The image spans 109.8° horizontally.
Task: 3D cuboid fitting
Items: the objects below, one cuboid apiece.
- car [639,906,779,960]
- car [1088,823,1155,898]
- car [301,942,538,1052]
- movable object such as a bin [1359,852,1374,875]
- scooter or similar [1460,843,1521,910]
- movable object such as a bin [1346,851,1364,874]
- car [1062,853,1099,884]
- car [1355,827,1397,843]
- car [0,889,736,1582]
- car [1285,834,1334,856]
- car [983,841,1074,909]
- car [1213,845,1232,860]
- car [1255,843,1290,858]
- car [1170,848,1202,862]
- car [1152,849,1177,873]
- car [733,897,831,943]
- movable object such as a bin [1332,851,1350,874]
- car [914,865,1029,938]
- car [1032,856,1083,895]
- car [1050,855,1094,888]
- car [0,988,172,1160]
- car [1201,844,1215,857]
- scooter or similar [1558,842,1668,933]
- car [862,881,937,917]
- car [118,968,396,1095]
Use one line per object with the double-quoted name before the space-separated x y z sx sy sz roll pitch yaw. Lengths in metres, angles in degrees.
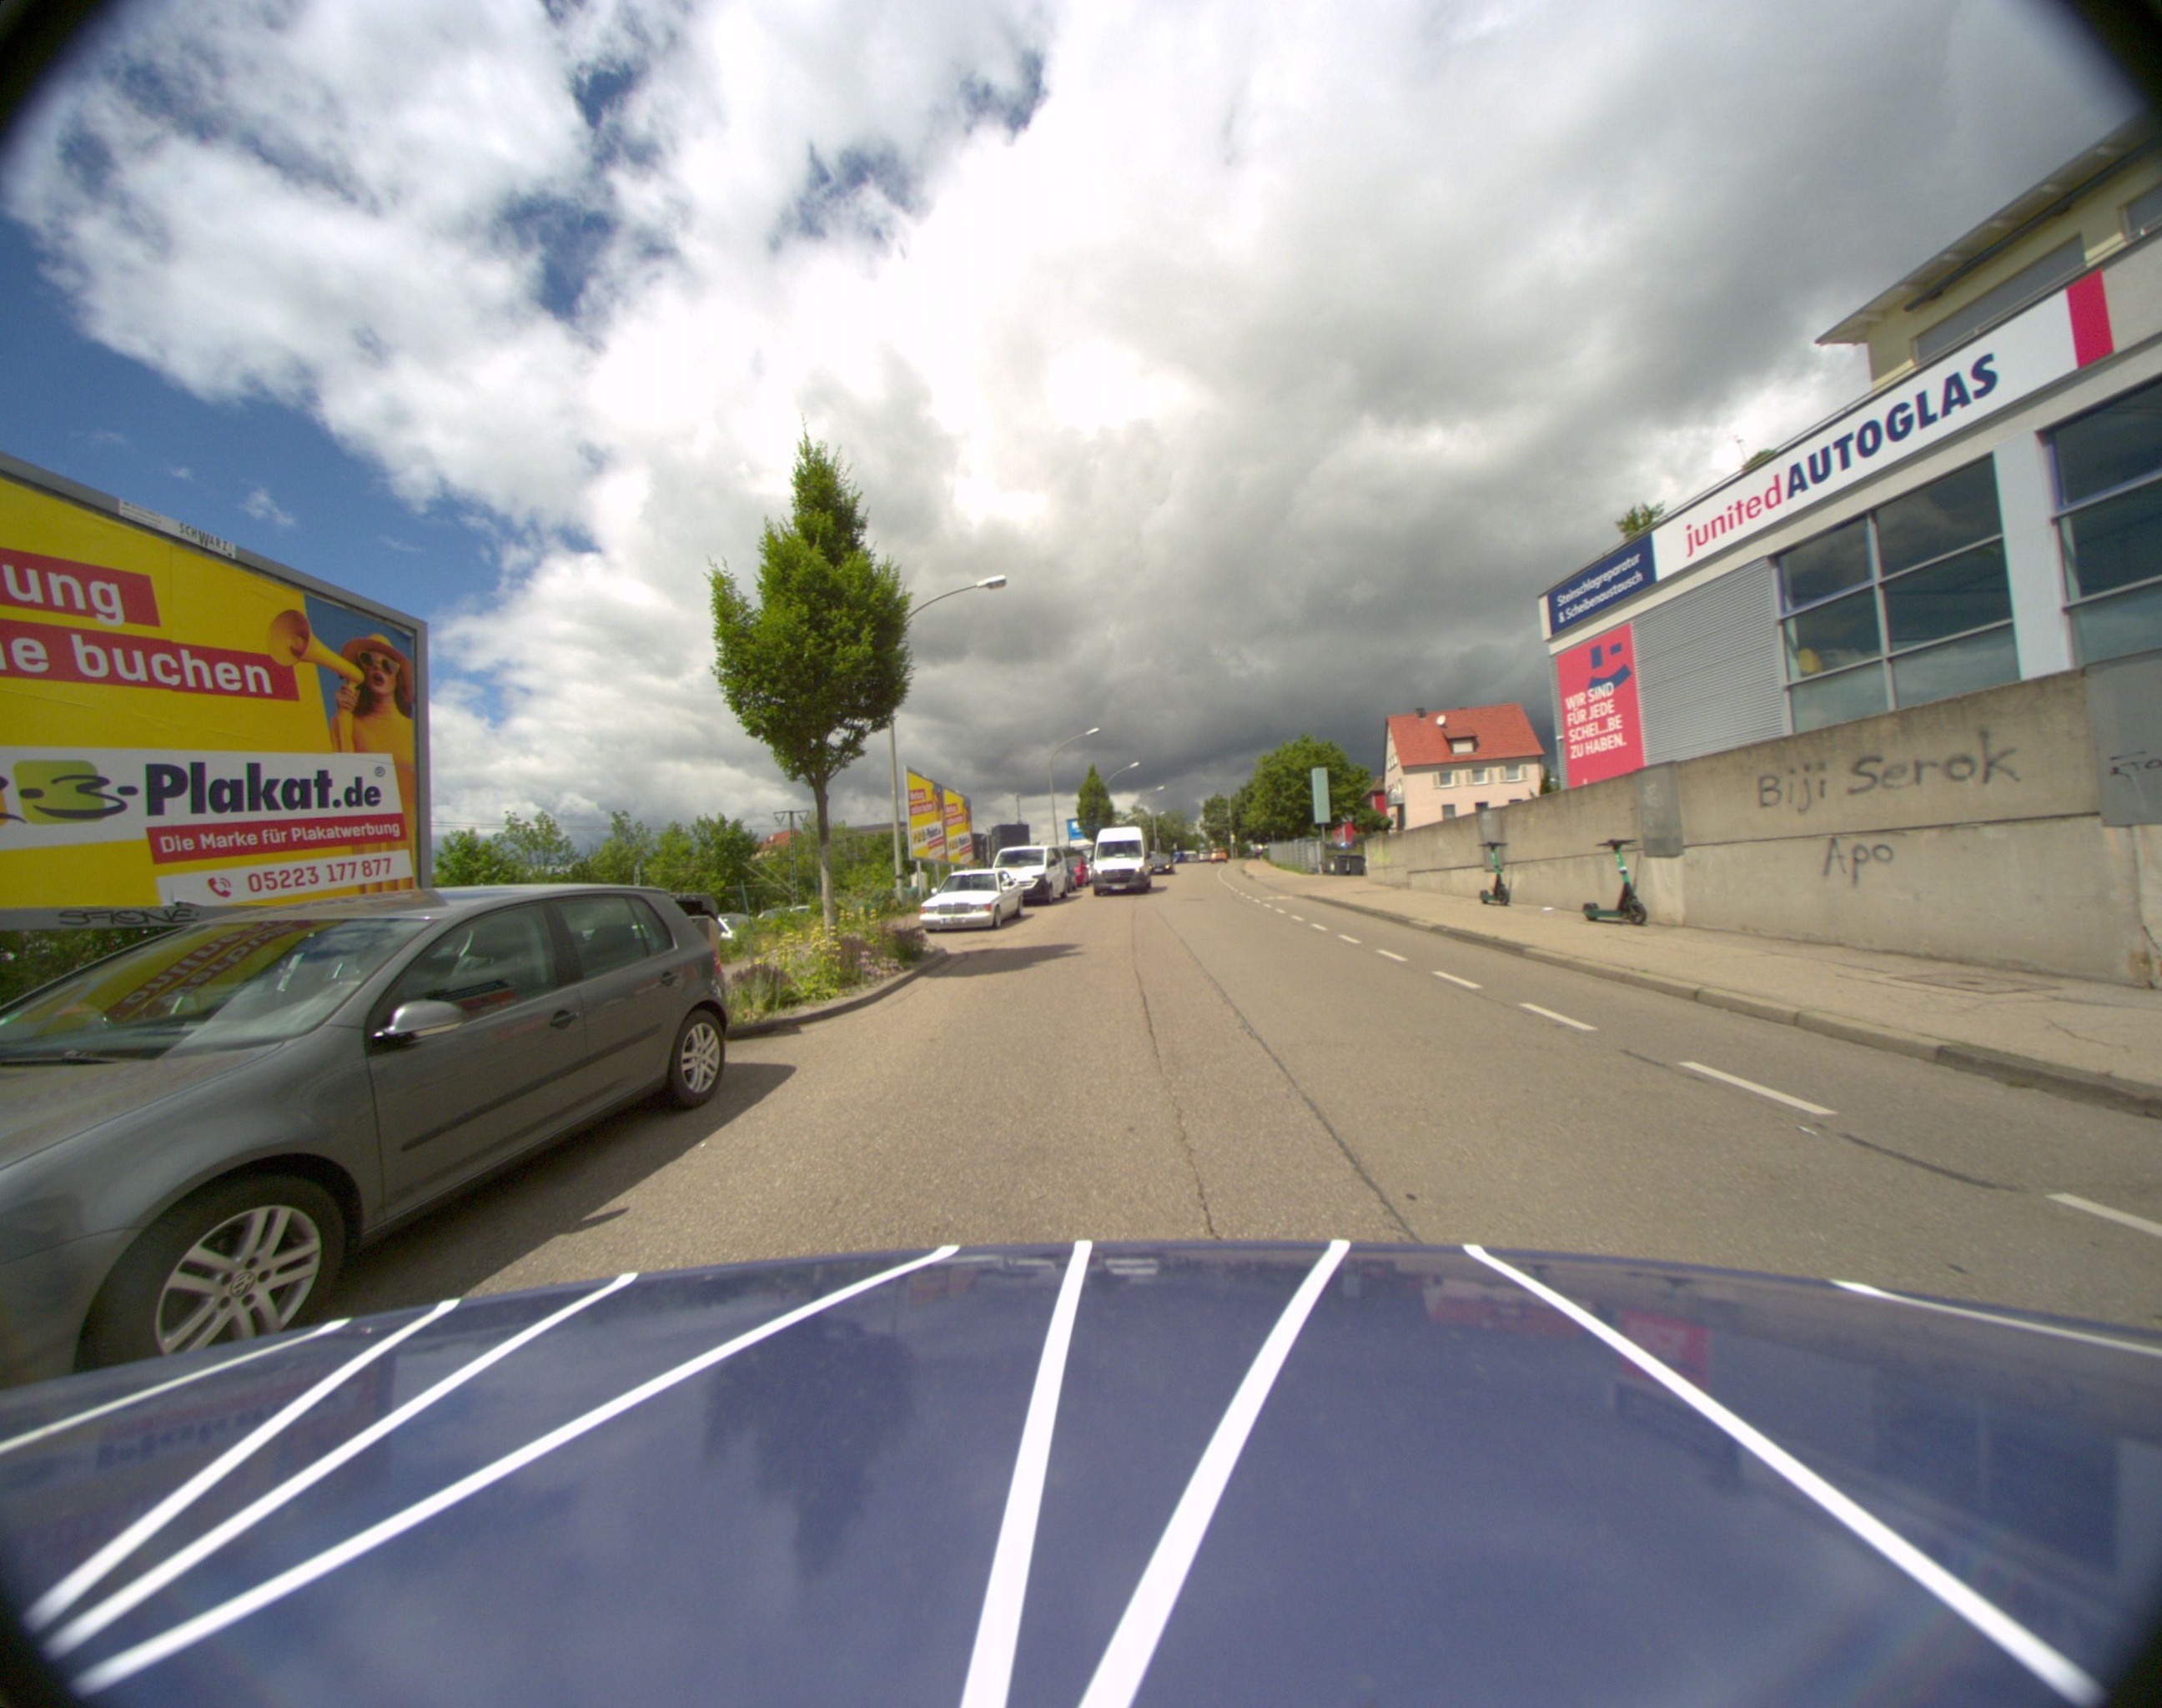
"car" -11.844 2.505 24.199 3.991 1.482 1.648 -3 1 21
"car" 1.752 0.183 30.250 2.081 2.576 6.065 -3 1 7
"car" -12.492 2.583 14.345 3.991 1.626 1.719 -3 1 23
"movable object such as a bin" 13.188 0.421 35.105 0.503 1.054 0.498 0 1 7
"scooter or similar" 8.243 0.422 15.337 0.558 1.268 1.306 -3 1 5
"movable object such as a bin" 12.622 0.384 35.025 0.664 1.074 0.517 0 1 7
"car" -0.002 0.751 41.626 1.596 1.514 2.859 -3 0 6
"car" 31.423 -2.017 80.998 4.014 1.497 1.587 -3 1 13
"car" -3.372 1.028 3.305 1.659 1.477 4.045 -2 1 3
"car" 20.664 -0.825 68.906 3.952 1.766 1.524 -3 1 7
"car" -1.655 0.632 26.282 1.979 1.992 5.549 -3 0 7
"car" 14.807 -0.179 79.383 1.603 1.482 3.685 -3 1 15
"car" 22.428 -0.417 88.916 3.853 1.497 1.587 -3 1 13
"car" 17.840 0.146 129.354 5.138 1.958 1.957 -4 1 -30
"car" 5.650 0.454 51.667 1.584 1.497 3.958 -3 0 6
"car" -10.633 2.327 27.335 1.574 1.252 3.713 -3 0 8
"movable object such as a bin" 12.022 0.387 35.132 0.664 1.074 0.517 0 1 7
"car" -2.486 1.046 18.327 1.640 1.379 4.206 -3 0 7
"car" -0.987 0.899 33.449 1.596 1.442 3.981 -3 0 7
"car" -0.381 0.844 37.909 1.596 1.473 3.502 -3 0 8
"car" -13.598 2.746 9.805 3.989 1.478 1.816 -3 1 32
"car" 16.247 -0.419 97.539 1.645 1.523 4.224 -3 0 9
"scooter or similar" 8.038 0.477 11.551 0.520 1.268 1.383 -5 1 -5
"car" -8.728 2.155 36.985 1.819 1.343 4.558 -3 0 10
"car" -13.148 2.708 12.131 3.991 1.437 1.679 -3 1 23
